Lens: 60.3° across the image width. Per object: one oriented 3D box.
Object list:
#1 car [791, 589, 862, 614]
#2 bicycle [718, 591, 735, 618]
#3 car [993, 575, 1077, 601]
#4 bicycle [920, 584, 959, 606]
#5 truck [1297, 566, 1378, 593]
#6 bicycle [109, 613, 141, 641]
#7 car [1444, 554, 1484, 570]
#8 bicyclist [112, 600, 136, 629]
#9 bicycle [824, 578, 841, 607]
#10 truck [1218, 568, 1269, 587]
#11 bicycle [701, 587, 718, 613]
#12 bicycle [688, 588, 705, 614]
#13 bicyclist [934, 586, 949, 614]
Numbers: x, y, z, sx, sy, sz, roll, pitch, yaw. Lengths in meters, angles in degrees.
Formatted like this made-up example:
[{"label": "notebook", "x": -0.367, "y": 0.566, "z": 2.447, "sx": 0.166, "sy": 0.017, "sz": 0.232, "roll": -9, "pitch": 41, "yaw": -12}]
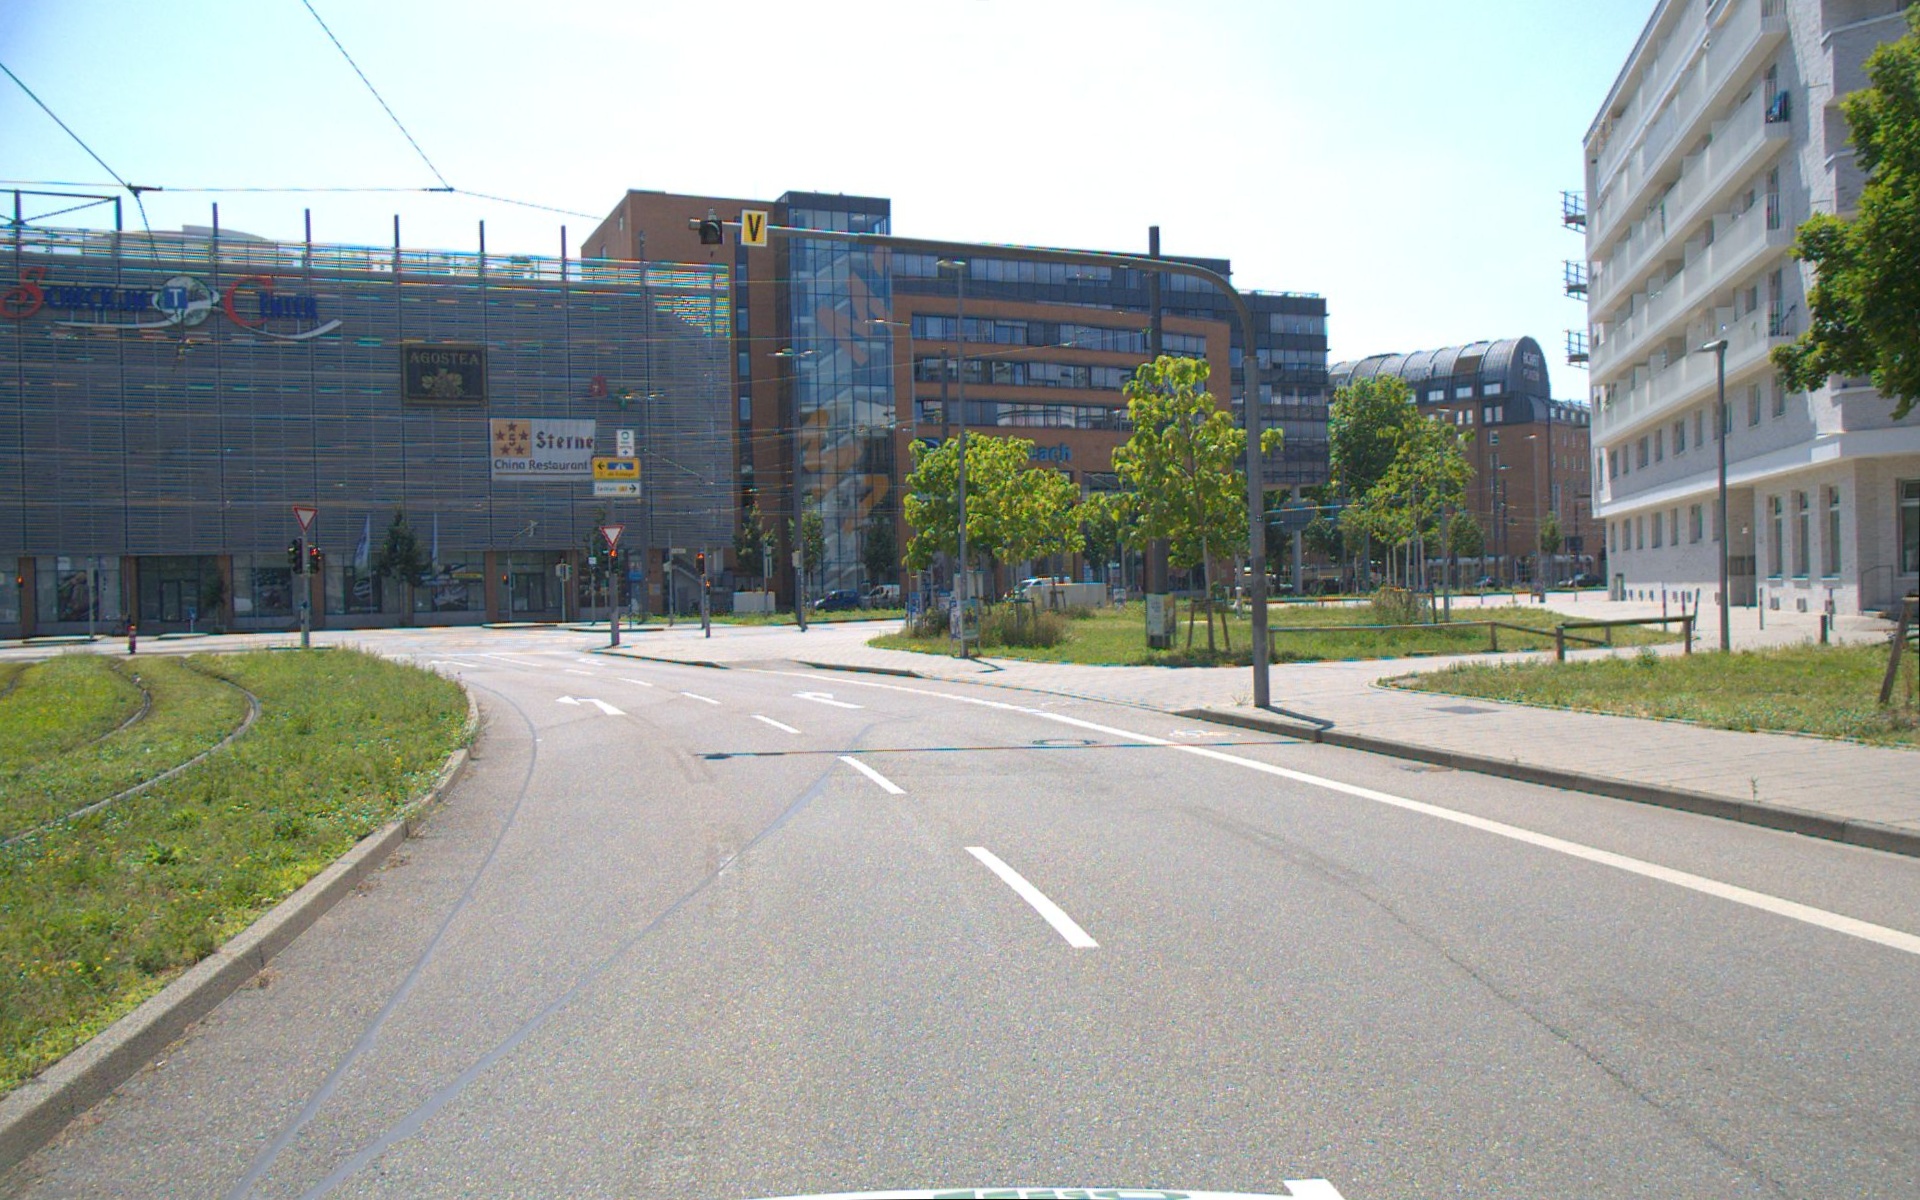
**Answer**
[{"label": "car", "x": -8.123, "y": 0.104, "z": 100.551, "sx": 3.938, "sy": 1.467, "sz": 1.729, "roll": -1, "pitch": 0, "yaw": -26}, {"label": "bicycle", "x": -15.846, "y": 0.305, "z": 112.329, "sx": 0.590, "sy": 1.761, "sz": 2.244, "roll": -1, "pitch": 0, "yaw": -23}, {"label": "car", "x": 4.960, "y": -0.810, "z": 109.342, "sx": 5.406, "sy": 1.697, "sz": 1.980, "roll": -1, "pitch": 0, "yaw": -30}, {"label": "bicycle", "x": -1.482, "y": -0.377, "z": 119.809, "sx": 2.810, "sy": 1.584, "sz": 0.700, "roll": -1, "pitch": 0, "yaw": -23}, {"label": "truck", "x": 41.588, "y": -2.228, "z": 182.595, "sx": 1.985, "sy": 2.858, "sz": 9.087, "roll": -1, "pitch": 1, "yaw": -45}, {"label": "bicycle", "x": -45.952, "y": 1.468, "z": 91.025, "sx": 1.045, "sy": 1.414, "sz": 3.009, "roll": -1, "pitch": 0, "yaw": -17}, {"label": "car", "x": 57.855, "y": -4.348, "z": 189.932, "sx": 3.932, "sy": 1.758, "sz": 1.854, "roll": 0, "pitch": 1, "yaw": 44}, {"label": "bicyclist", "x": -45.859, "y": 0.790, "z": 90.709, "sx": 1.023, "sy": 1.599, "sz": 0.773, "roll": -1, "pitch": 0, "yaw": -18}, {"label": "bicycle", "x": -9.013, "y": -0.554, "z": 116.887, "sx": 0.478, "sy": 2.049, "sz": 2.331, "roll": -1, "pitch": 0, "yaw": -22}, {"label": "truck", "x": 30.885, "y": -2.425, "z": 180.312, "sx": 5.282, "sy": 2.049, "sz": 1.872, "roll": 0, "pitch": 1, "yaw": 41}, {"label": "bicycle", "x": -16.998, "y": 0.015, "z": 112.047, "sx": 0.590, "sy": 1.761, "sz": 2.244, "roll": -1, "pitch": 0, "yaw": -23}, {"label": "bicycle", "x": -17.783, "y": 0.072, "z": 111.685, "sx": 0.590, "sy": 1.761, "sz": 2.244, "roll": -1, "pitch": 0, "yaw": -23}, {"label": "bicyclist", "x": -1.360, "y": 0.003, "z": 119.874, "sx": 0.900, "sy": 2.049, "sz": 0.743, "roll": -1, "pitch": 0, "yaw": -23}]
